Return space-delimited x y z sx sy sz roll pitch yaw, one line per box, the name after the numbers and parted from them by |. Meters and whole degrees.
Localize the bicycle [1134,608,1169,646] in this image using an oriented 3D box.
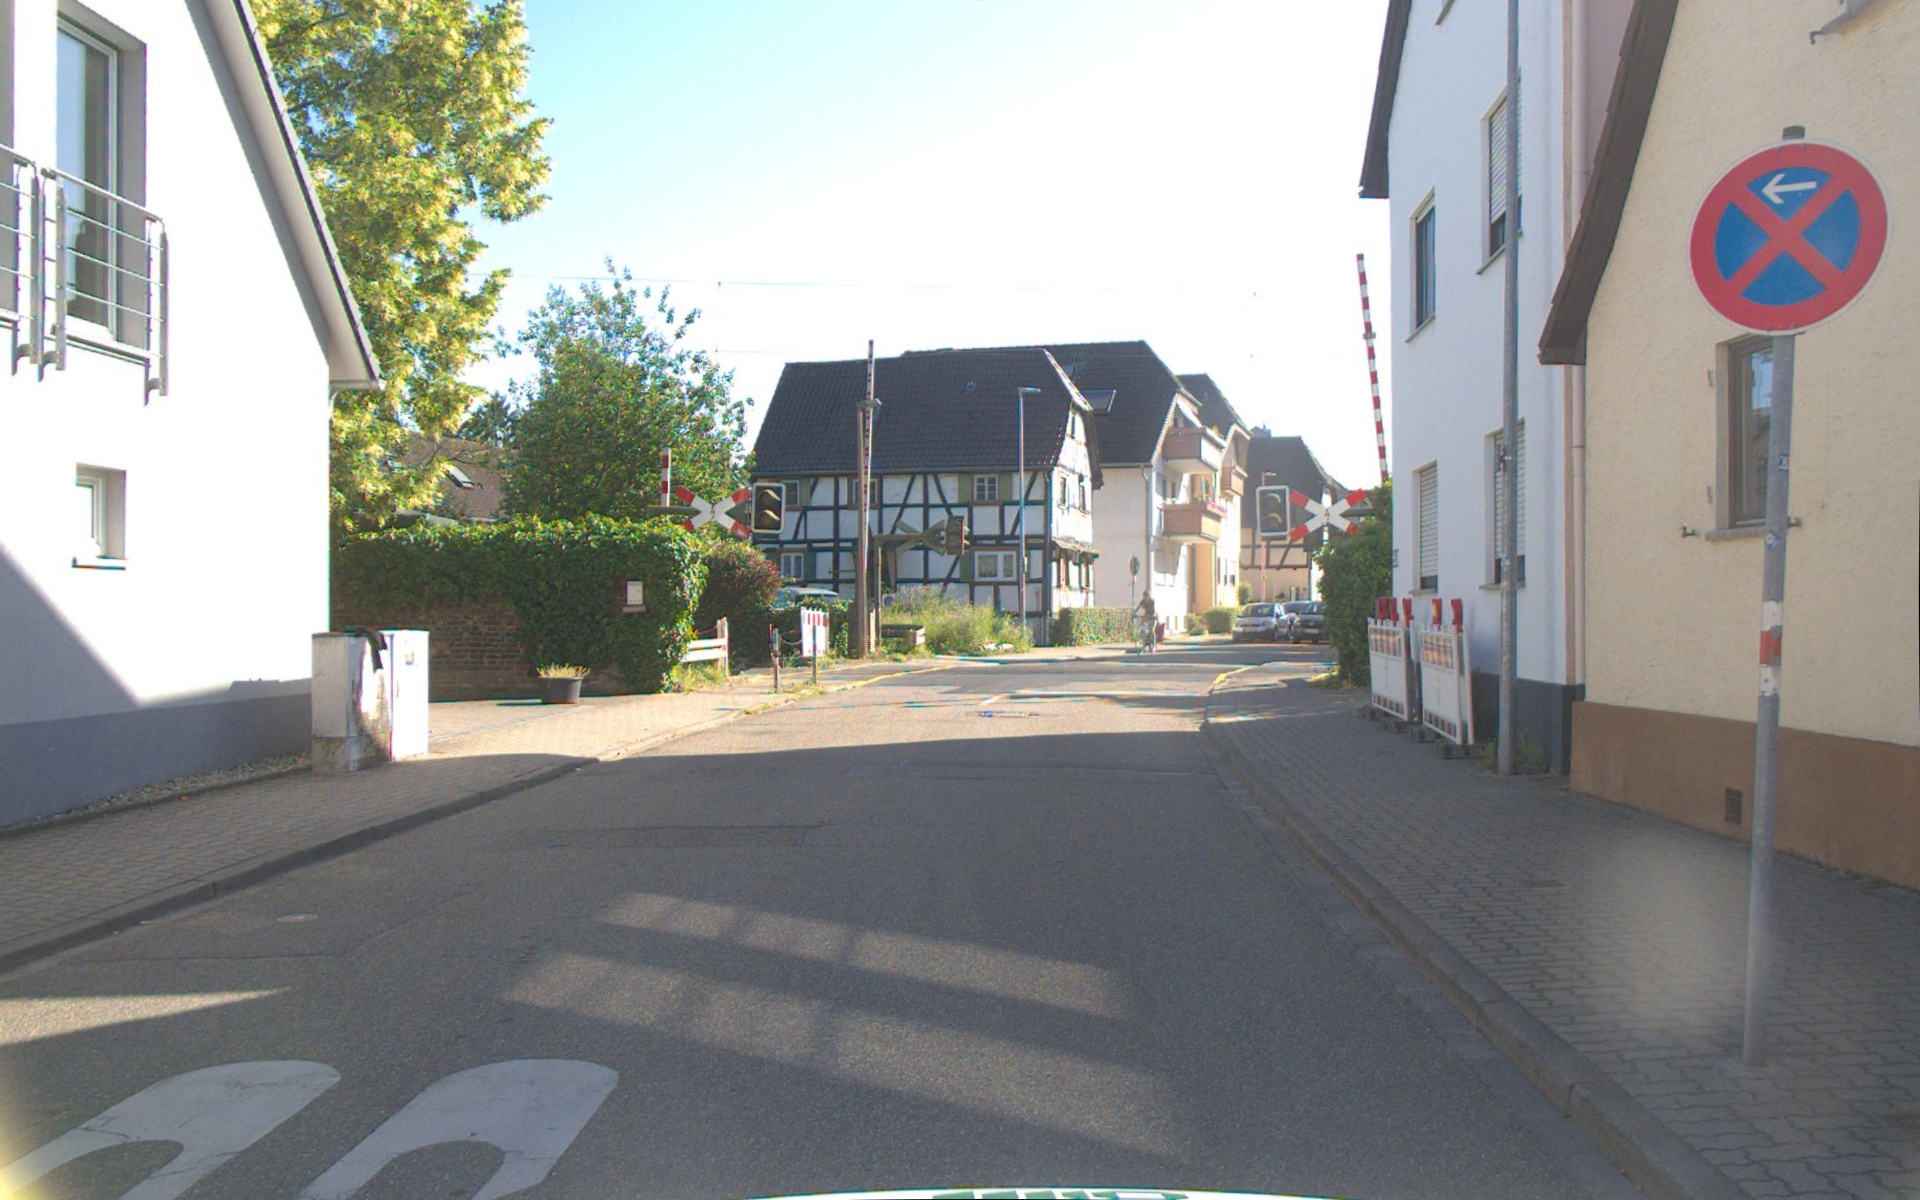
5.287 0.744 45.658 0.865 1.023 2.064 -1 -1 4 | bicycle

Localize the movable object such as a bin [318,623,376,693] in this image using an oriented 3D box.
-8.458 0.798 22.834 0.578 0.950 0.508 0 -1 8 | movable object such as a bin

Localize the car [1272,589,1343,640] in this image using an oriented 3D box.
12.403 0.473 58.852 1.653 1.535 3.654 6 4 23 | car

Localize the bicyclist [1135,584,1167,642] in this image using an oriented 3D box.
5.276 0.362 45.712 0.830 1.568 0.873 -1 -1 4 | bicyclist

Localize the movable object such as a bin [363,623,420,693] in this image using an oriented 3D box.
-7.828 0.797 22.789 0.578 0.950 0.508 0 -1 8 | movable object such as a bin

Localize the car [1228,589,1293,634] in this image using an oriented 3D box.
11.488 0.415 63.042 1.598 1.532 3.852 -3 0 23 | car

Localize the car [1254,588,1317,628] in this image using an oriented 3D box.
13.302 0.295 67.376 1.640 1.532 4.093 -1 0 24 | car

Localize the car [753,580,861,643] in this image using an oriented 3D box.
-4.178 0.286 44.589 1.662 1.591 3.969 2 0 -25 | car
